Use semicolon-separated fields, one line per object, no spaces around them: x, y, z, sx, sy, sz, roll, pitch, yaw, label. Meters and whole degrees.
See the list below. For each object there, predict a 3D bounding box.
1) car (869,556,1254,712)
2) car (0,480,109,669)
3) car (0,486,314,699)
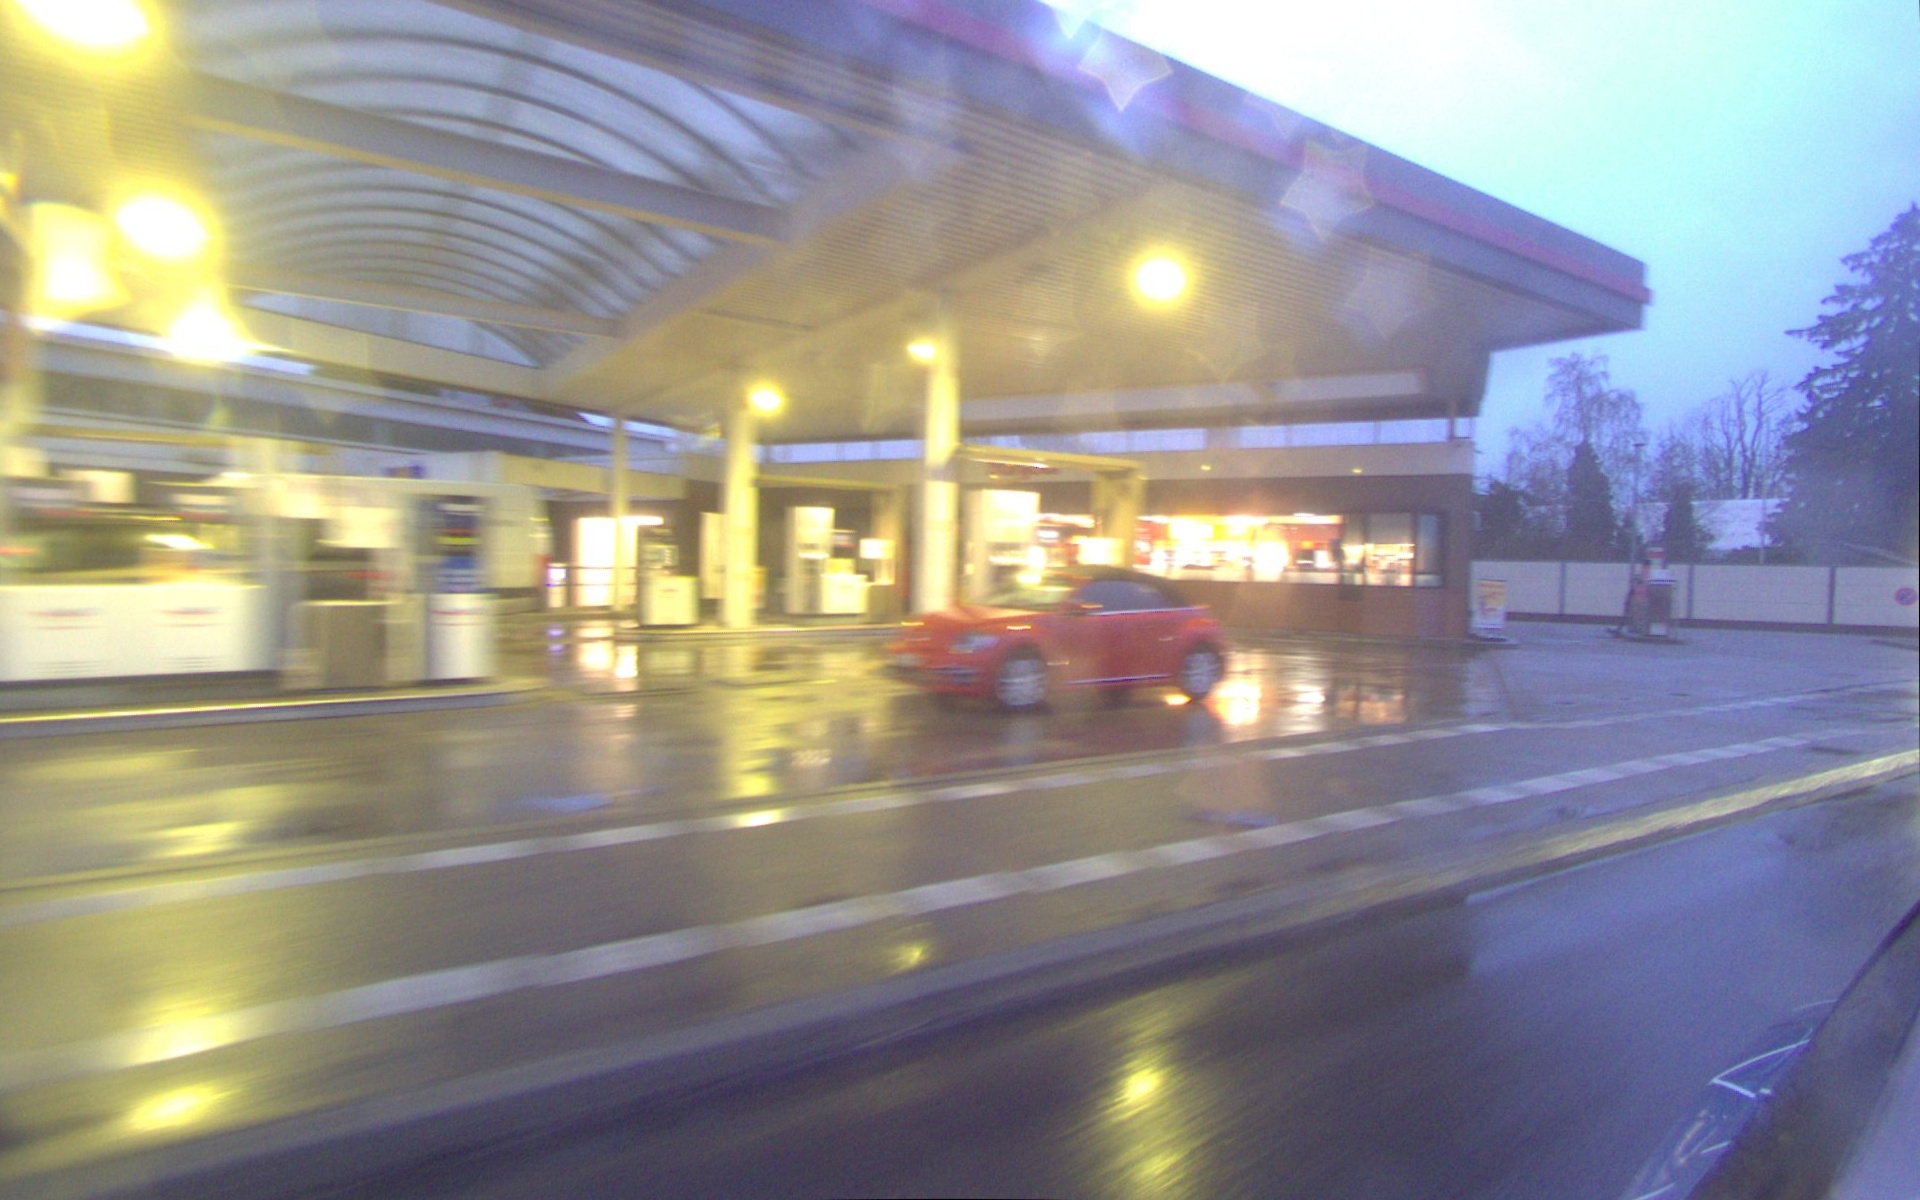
1.194;0.275;11.114;4.087;1.413;1.579;0;3;-33;car
-12.018;-0.298;11.052;3.922;2.038;2.002;-1;2;-33;car
-8.823;-0.125;9.886;4.215;1.881;2.002;-1;3;-33;car
